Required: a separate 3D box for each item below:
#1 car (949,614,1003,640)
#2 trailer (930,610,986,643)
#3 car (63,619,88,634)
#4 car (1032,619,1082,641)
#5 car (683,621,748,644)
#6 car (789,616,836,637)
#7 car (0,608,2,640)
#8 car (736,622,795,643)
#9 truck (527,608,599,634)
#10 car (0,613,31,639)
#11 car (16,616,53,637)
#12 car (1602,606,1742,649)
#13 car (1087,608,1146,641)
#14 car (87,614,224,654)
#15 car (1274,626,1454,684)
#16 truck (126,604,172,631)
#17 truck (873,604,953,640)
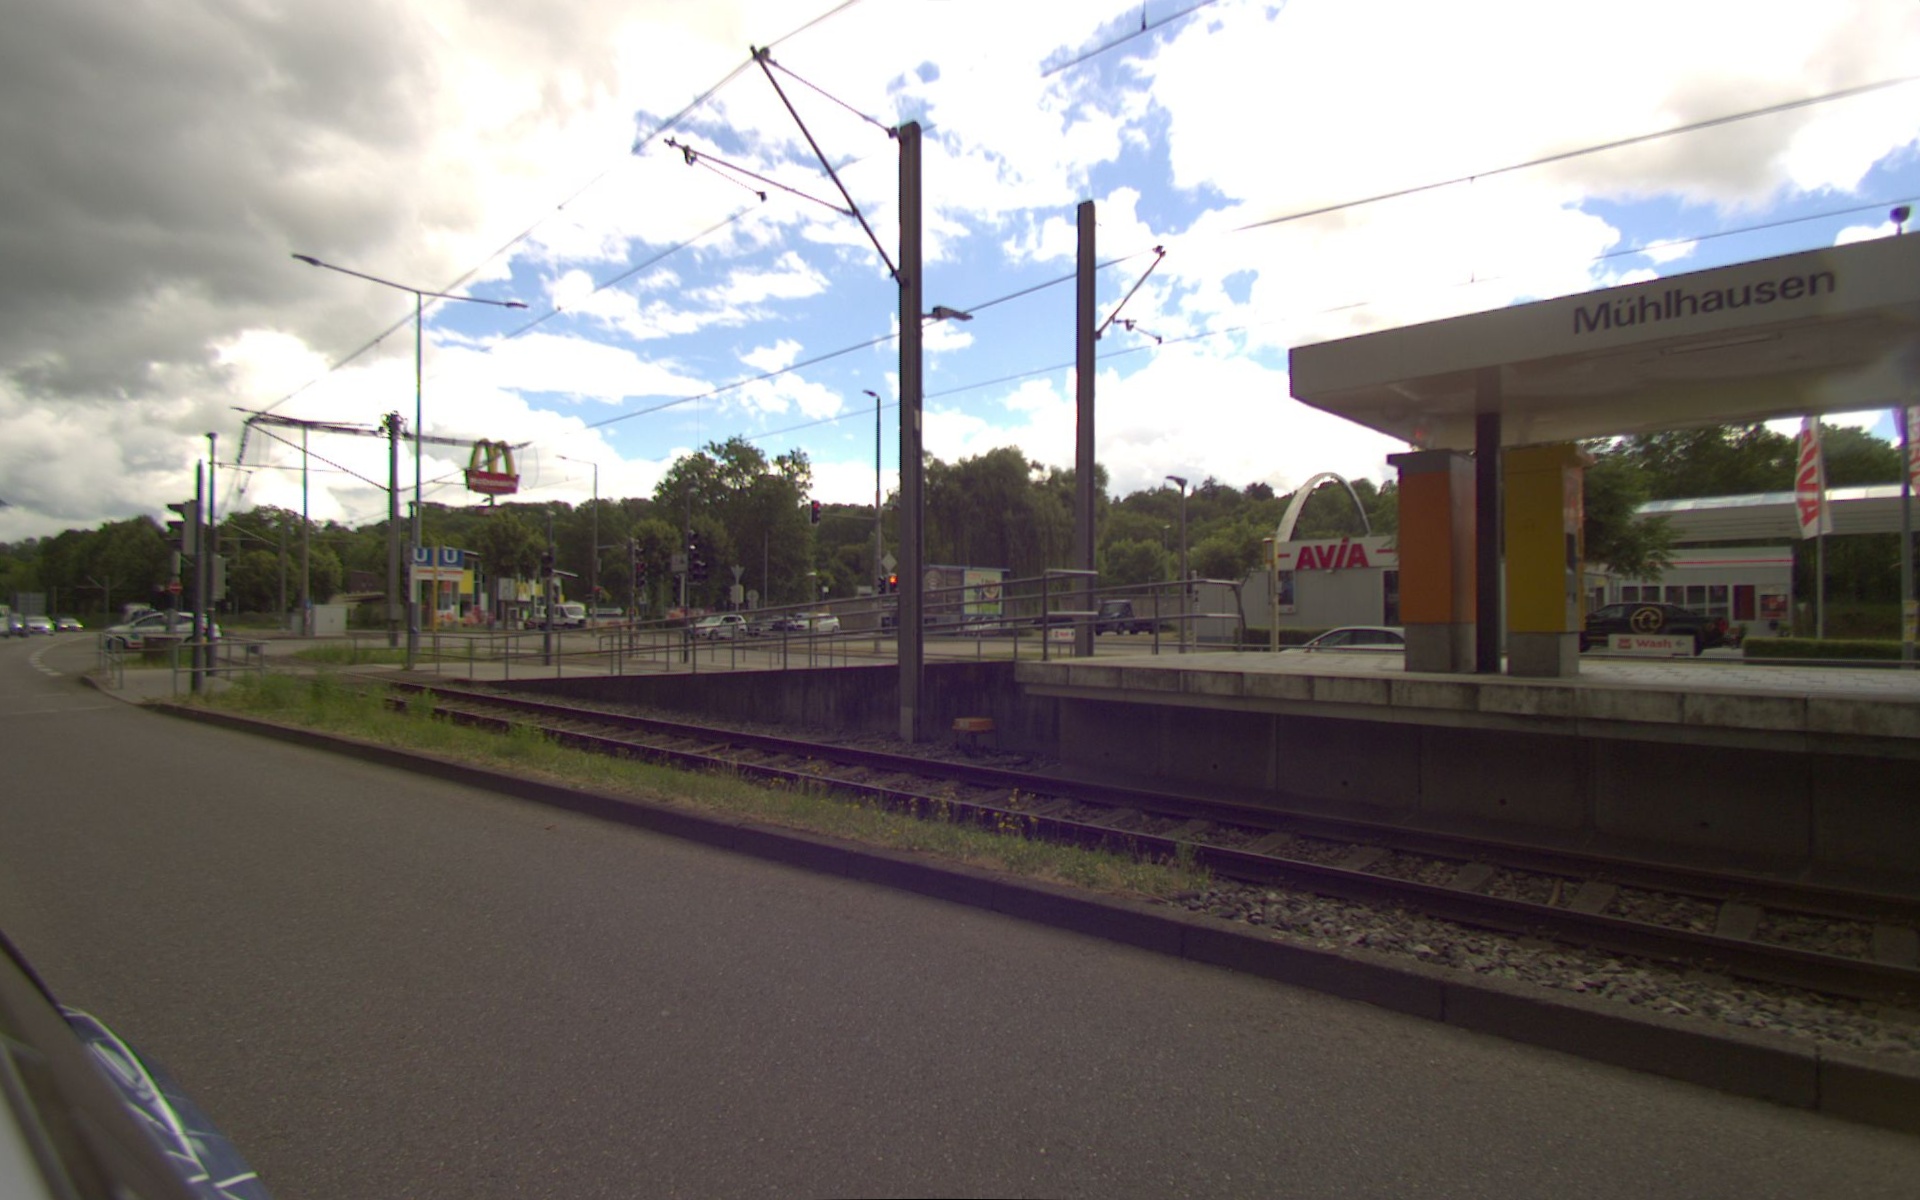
[{"bbox_3d":[1.125,1.852,69.491,1.753,1.756,3.807,-1,-2,39],"label":"car"},{"bbox_3d":[-0.090,1.900,71.997,1.559,2.275,4.333,-1,-3,40],"label":"trailer"},{"bbox_3d":[-96.772,2.858,110.731,1.938,1.564,4.006,3,-3,-41],"label":"car"},{"bbox_3d":[8.456,2.564,88.088,3.974,1.855,1.985,0,-1,23],"label":"car"},{"bbox_3d":[-16.304,2.172,67.673,1.788,1.443,4.377,-1,-1,27],"label":"car"},{"bbox_3d":[-11.838,2.151,81.321,1.723,1.566,3.599,0,-2,34],"label":"car"},{"bbox_3d":[-55.715,1.378,57.244,1.781,1.839,4.008,1,-1,-37],"label":"car"},{"bbox_3d":[-13.897,2.307,72.584,1.790,1.443,4.238,0,-1,31],"label":"car"},{"bbox_3d":[-30.865,1.611,78.661,6.194,1.920,2.566,-1,-3,41],"label":"truck"},{"bbox_3d":[-60.771,1.639,64.386,1.967,1.547,4.009,3,-3,-37],"label":"car"},{"bbox_3d":[-70.119,1.991,76.719,1.803,1.564,4.007,3,-3,-39],"label":"car"},{"bbox_3d":[23.664,0.908,33.685,3.635,1.360,1.595,-1,-2,43],"label":"car"},{"bbox_3d":[10.387,1.612,66.974,1.845,2.067,4.323,-1,-3,40],"label":"car"},{"bbox_3d":[-30.799,1.286,38.845,3.763,1.465,1.637,1,-1,-20],"label":"car"},{"bbox_3d":[10.361,1.355,26.142,4.028,1.360,1.596,-1,-1,41],"label":"car"},{"bbox_3d":[-112.397,2.423,140.202,8.696,3.587,3.390,-1,-3,42],"label":"truck"},{"bbox_3d":[-3.321,1.573,72.577,2.386,2.513,5.744,-1,-2,42],"label":"truck"}]
